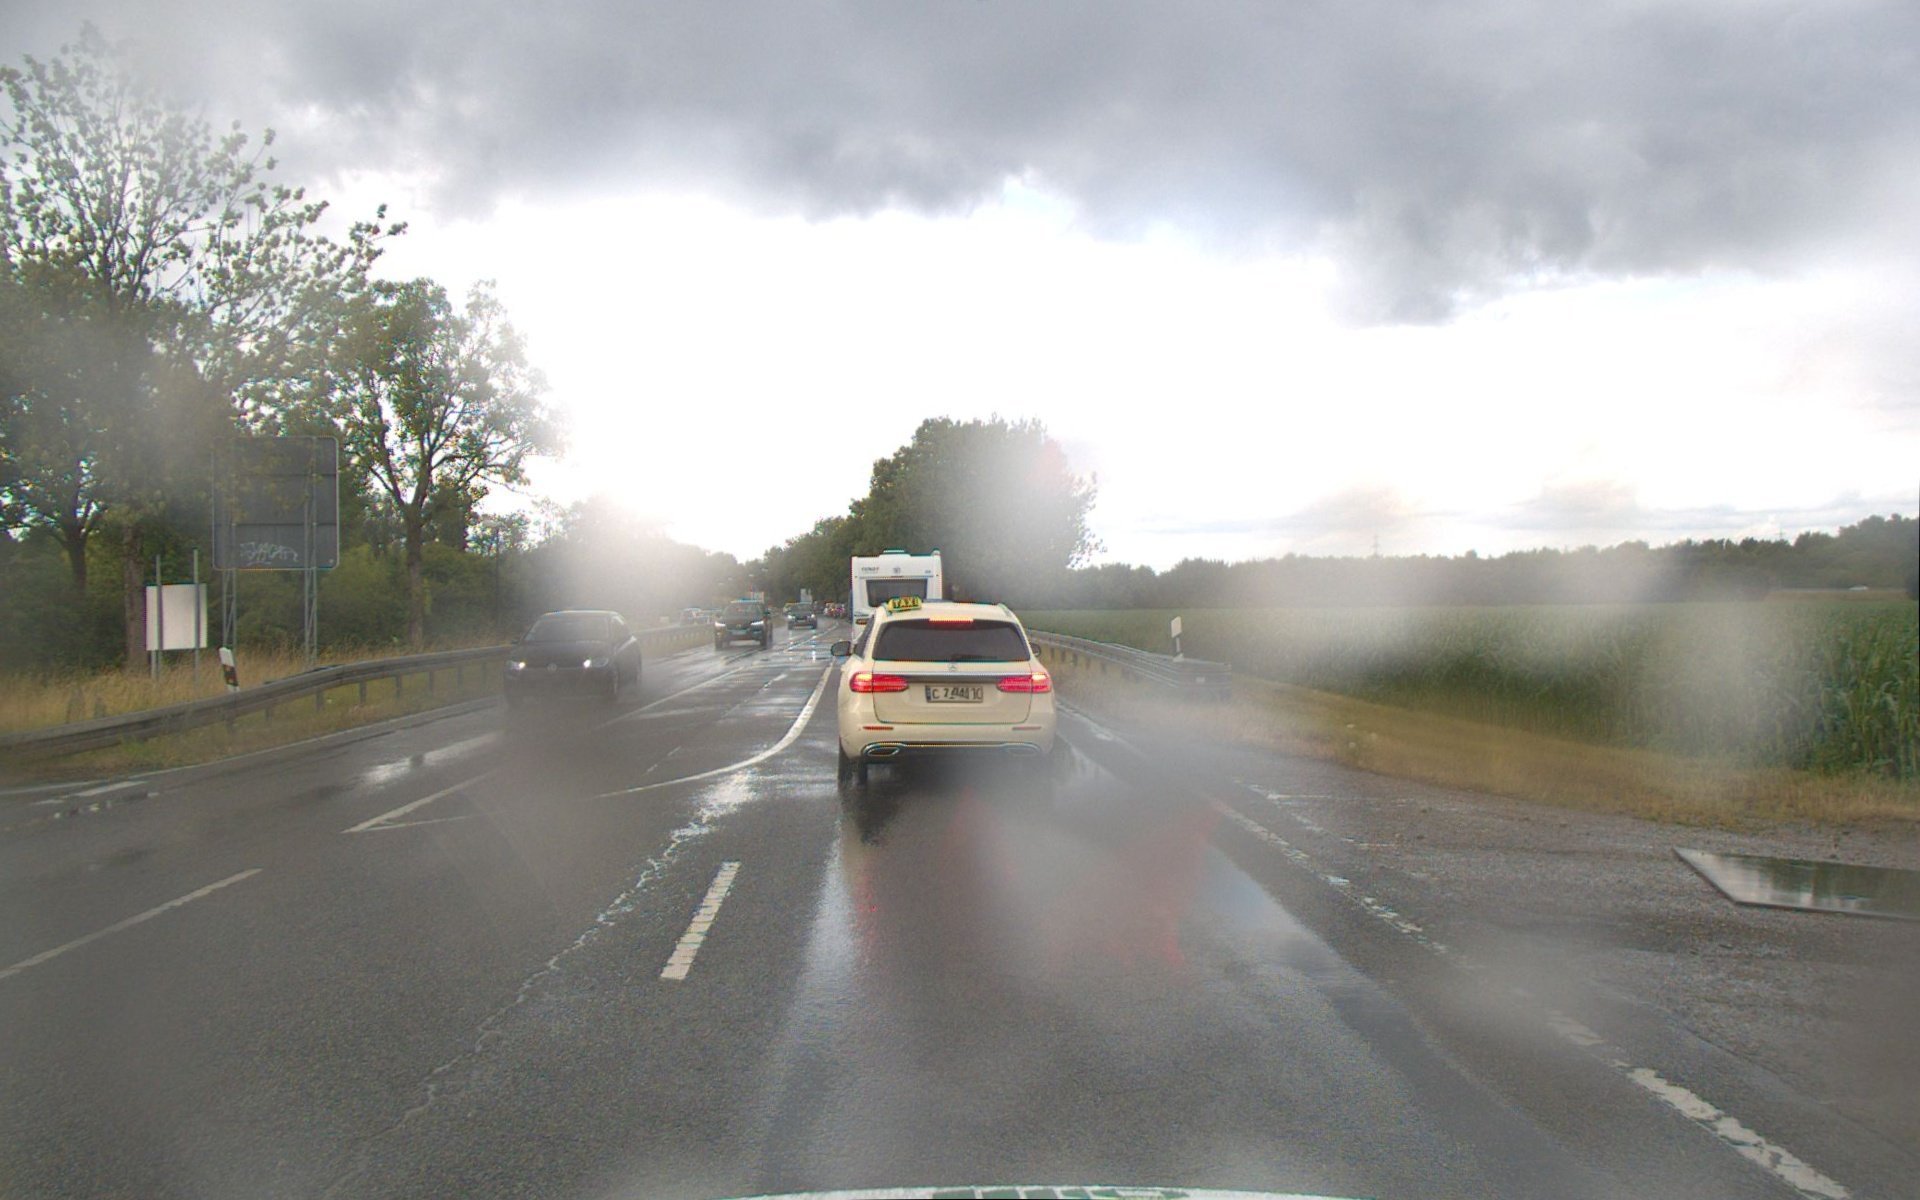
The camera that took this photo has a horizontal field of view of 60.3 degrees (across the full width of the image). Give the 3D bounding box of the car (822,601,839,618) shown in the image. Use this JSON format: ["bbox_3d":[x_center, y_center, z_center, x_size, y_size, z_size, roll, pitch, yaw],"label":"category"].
[{"bbox_3d":[-15.733,1.161,201.274,1.955,2.049,3.996,-1,0,-5],"label":"car"}]

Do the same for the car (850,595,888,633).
[{"bbox_3d":[-5.464,0.831,100.019,2.201,2.237,5.410,-1,0,-2],"label":"car"}]

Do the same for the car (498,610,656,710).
[{"bbox_3d":[-6.128,0.914,26.843,1.677,1.430,3.813,-2,0,-1],"label":"car"}]

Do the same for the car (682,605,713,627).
[{"bbox_3d":[-20.836,1.244,131.392,1.953,1.680,3.999,-1,0,-2],"label":"car"}]

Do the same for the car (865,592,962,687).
[{"bbox_3d":[-0.877,0.663,29.629,1.595,1.556,3.930,-1,0,-3],"label":"car"}]

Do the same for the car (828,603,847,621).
[{"bbox_3d":[-13.656,1.319,184.329,1.954,2.049,3.997,-1,0,-3],"label":"car"}]

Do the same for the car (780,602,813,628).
[{"bbox_3d":[-10.215,0.925,103.341,1.733,1.550,4.139,-2,0,-2],"label":"car"}]

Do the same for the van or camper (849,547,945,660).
[{"bbox_3d":[-1.677,0.072,43.326,2.304,2.727,5.765,-1,0,-3],"label":"van or camper"}]

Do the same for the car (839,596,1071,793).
[{"bbox_3d":[-0.095,0.736,14.824,1.788,1.511,4.143,0,0,-2],"label":"car"}]

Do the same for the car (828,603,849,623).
[{"bbox_3d":[-12.591,1.302,171.087,1.956,2.049,3.993,-1,0,-7],"label":"car"}]

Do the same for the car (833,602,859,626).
[{"bbox_3d":[-9.858,1.219,142.947,1.956,2.049,3.992,-1,0,-8],"label":"car"}]

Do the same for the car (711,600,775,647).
[{"bbox_3d":[-7.979,0.847,61.159,1.905,1.608,4.441,-2,0,-2],"label":"car"}]
